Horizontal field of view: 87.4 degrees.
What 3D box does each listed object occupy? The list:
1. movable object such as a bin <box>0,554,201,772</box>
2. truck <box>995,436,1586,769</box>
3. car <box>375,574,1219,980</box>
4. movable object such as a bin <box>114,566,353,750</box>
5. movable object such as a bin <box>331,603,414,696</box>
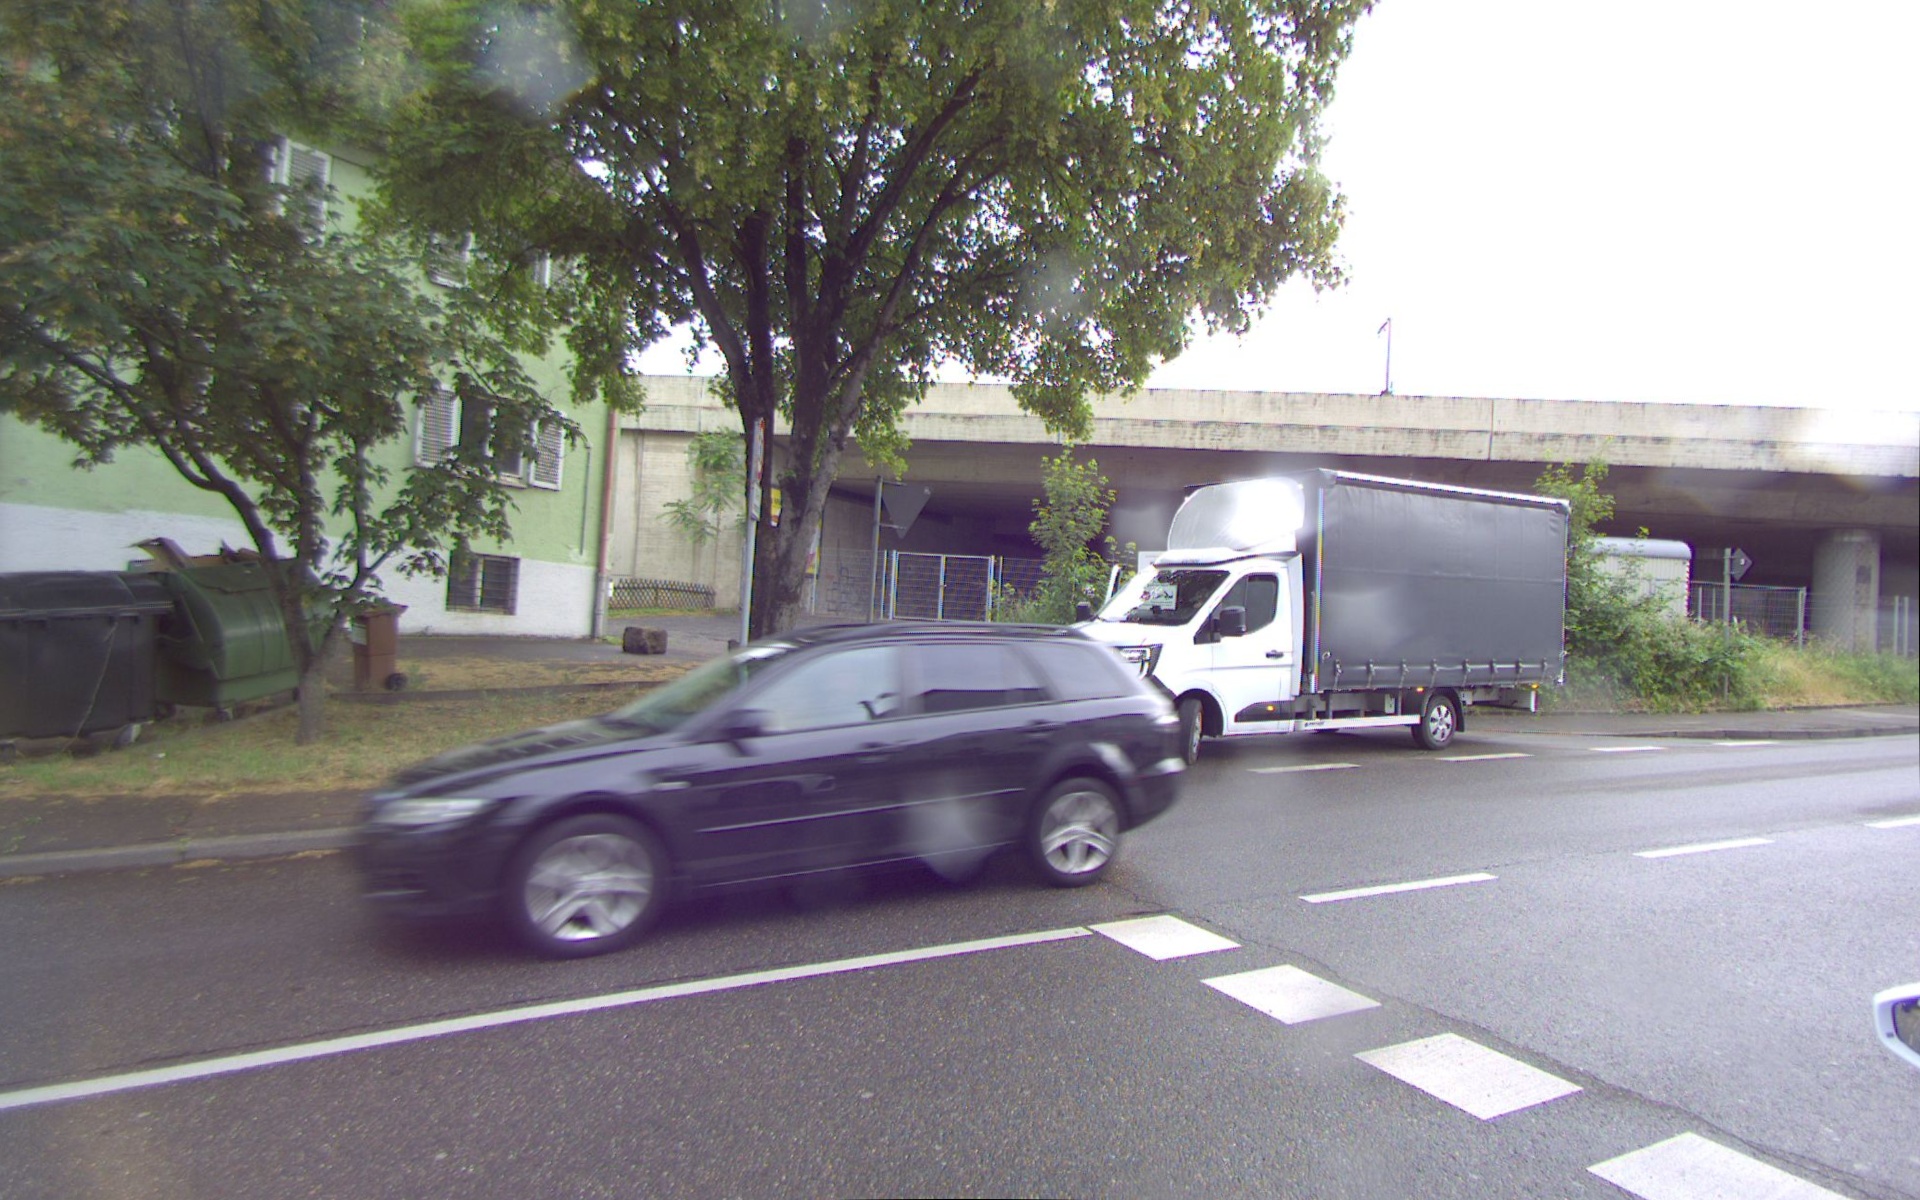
[{"bbox_3d":[-7.312,0.420,8.061,1.268,1.457,1.463,5,5,13],"label":"movable object such as a bin"},{"bbox_3d":[4.445,0.179,12.863,7.681,3.279,2.599,3,-1,-29],"label":"truck"},{"bbox_3d":[-0.792,0.768,5.803,4.358,1.590,1.834,2,-1,-29],"label":"car"},{"bbox_3d":[-6.744,0.473,9.425,1.078,1.457,1.463,5,5,13],"label":"movable object such as a bin"},{"bbox_3d":[-6.369,0.534,10.907,0.715,0.970,0.554,3,-1,-30],"label":"movable object such as a bin"}]
